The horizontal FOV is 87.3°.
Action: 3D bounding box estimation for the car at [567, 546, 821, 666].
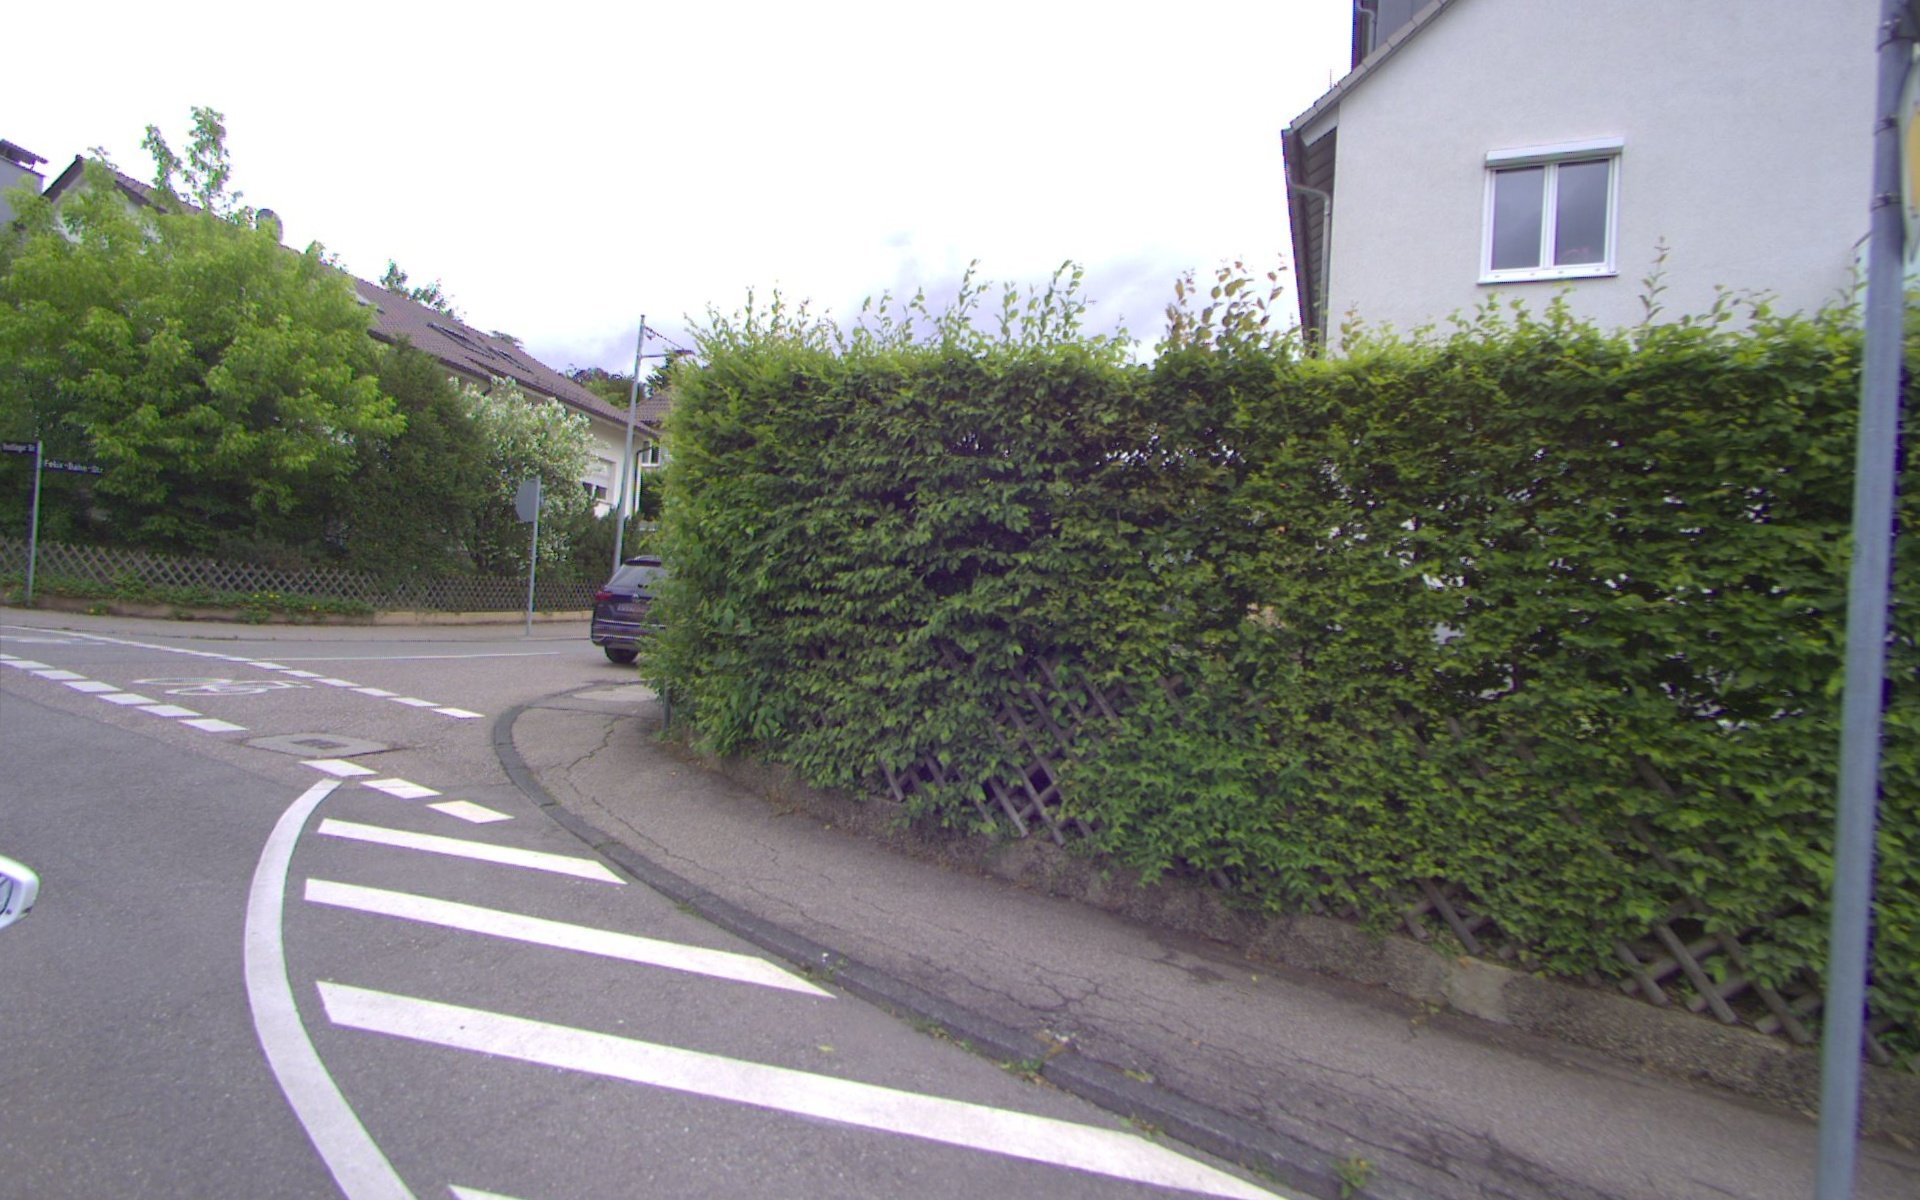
[{"bbox_3d":[-4.099,0.105,16.438,1.962,1.453,4.518,7,1,14],"label":"car"}]
